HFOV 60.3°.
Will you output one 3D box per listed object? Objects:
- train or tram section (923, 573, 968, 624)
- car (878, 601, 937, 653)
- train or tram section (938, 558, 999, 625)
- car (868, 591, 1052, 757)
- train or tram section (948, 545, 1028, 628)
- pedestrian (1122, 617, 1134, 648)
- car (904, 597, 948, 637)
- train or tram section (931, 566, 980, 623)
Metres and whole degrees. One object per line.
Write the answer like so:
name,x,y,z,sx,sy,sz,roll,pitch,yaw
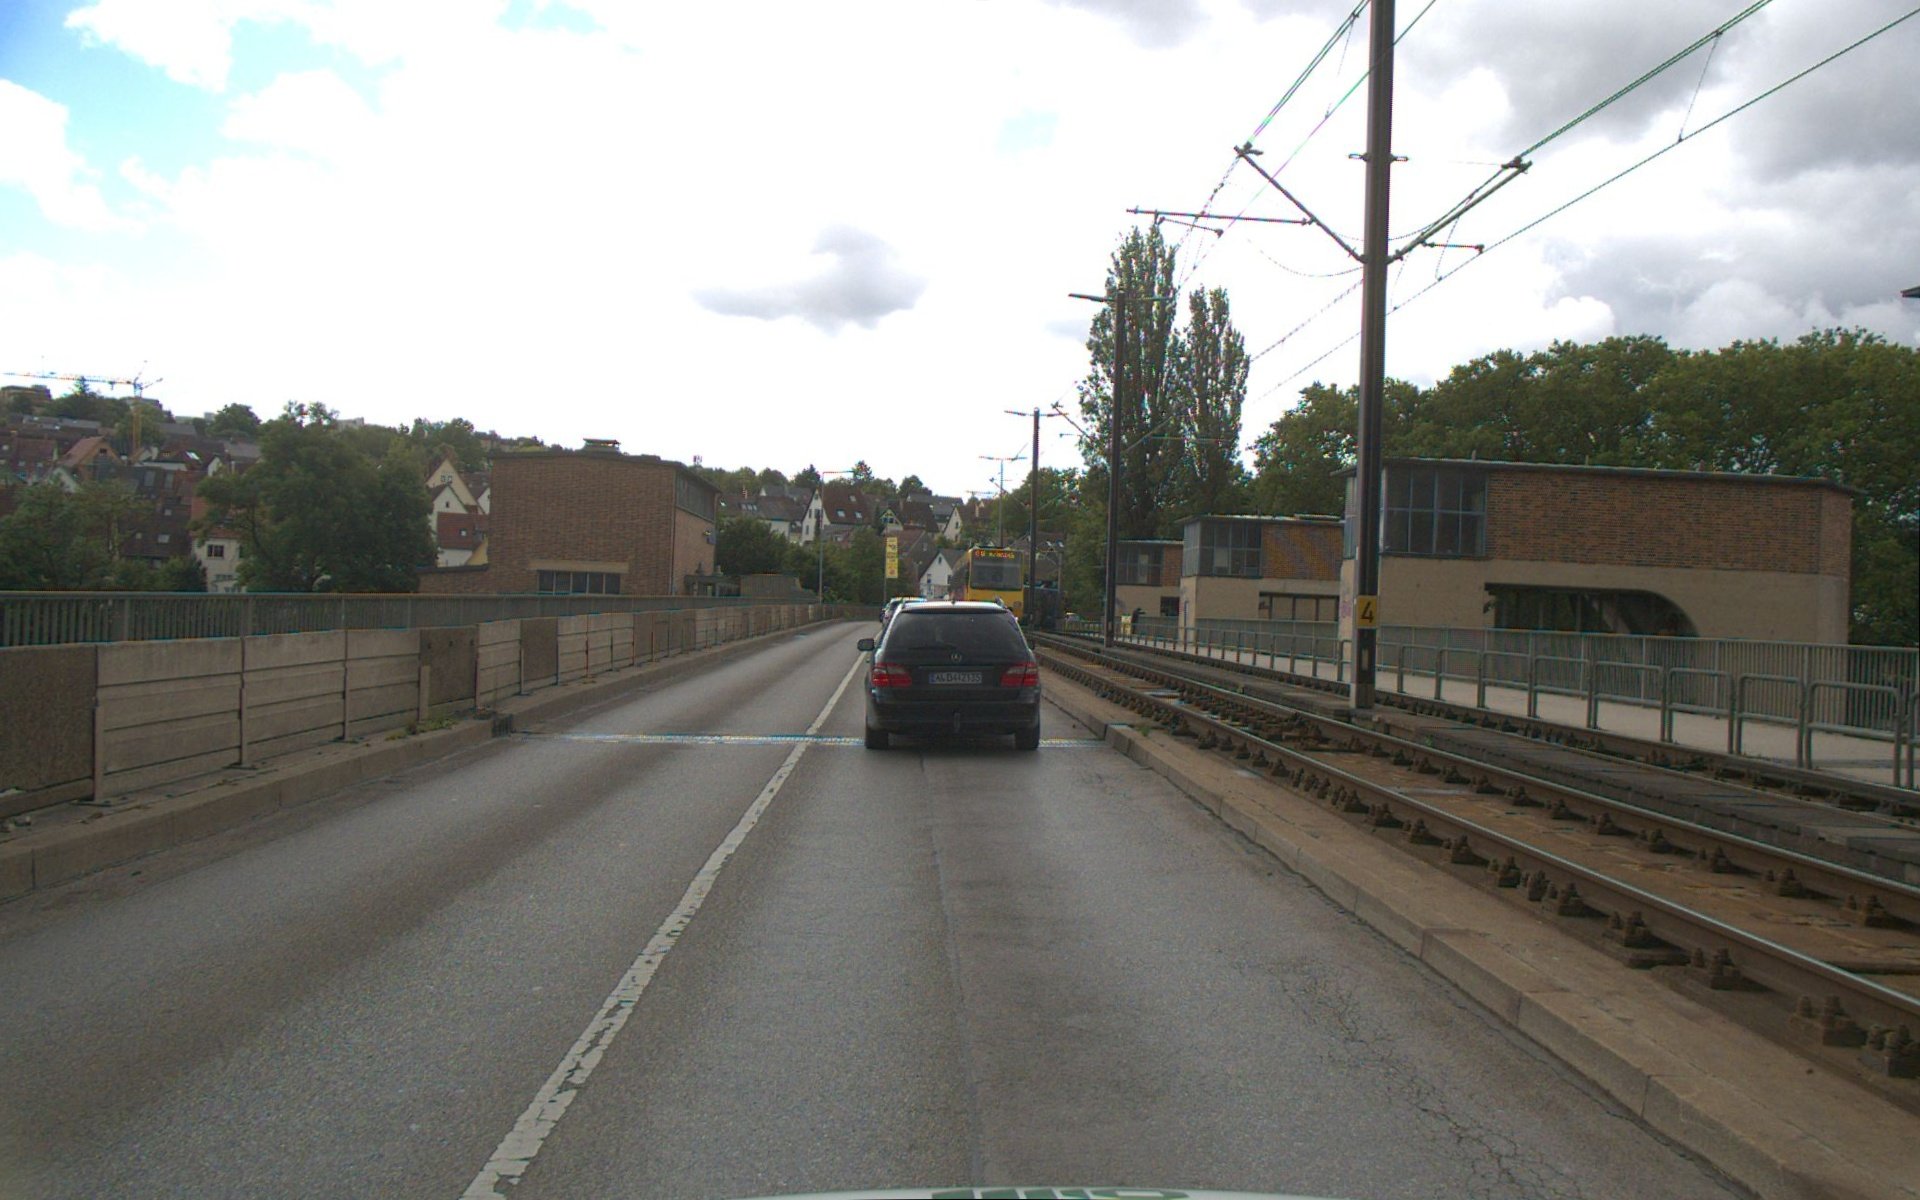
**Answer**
train or tram section,-1.366,0.007,138.460,2.738,3.830,19.878,2,-1,-3
car,-1.761,0.850,54.554,1.735,1.582,4.237,2,0,-4
train or tram section,0.358,-0.431,99.377,2.773,3.643,18.656,0,0,-2
car,-0.009,0.697,17.817,1.723,1.542,4.442,1,0,0
train or tram section,1.153,-0.546,80.772,2.824,3.571,18.656,0,0,-2
pedestrian,8.946,1.744,88.077,0.565,1.638,0.612,1,-1,-1
car,-1.419,0.695,69.565,1.756,1.582,4.384,-1,0,-1
train or tram section,-0.465,-0.249,118.594,2.728,3.720,19.881,0,-1,-2
